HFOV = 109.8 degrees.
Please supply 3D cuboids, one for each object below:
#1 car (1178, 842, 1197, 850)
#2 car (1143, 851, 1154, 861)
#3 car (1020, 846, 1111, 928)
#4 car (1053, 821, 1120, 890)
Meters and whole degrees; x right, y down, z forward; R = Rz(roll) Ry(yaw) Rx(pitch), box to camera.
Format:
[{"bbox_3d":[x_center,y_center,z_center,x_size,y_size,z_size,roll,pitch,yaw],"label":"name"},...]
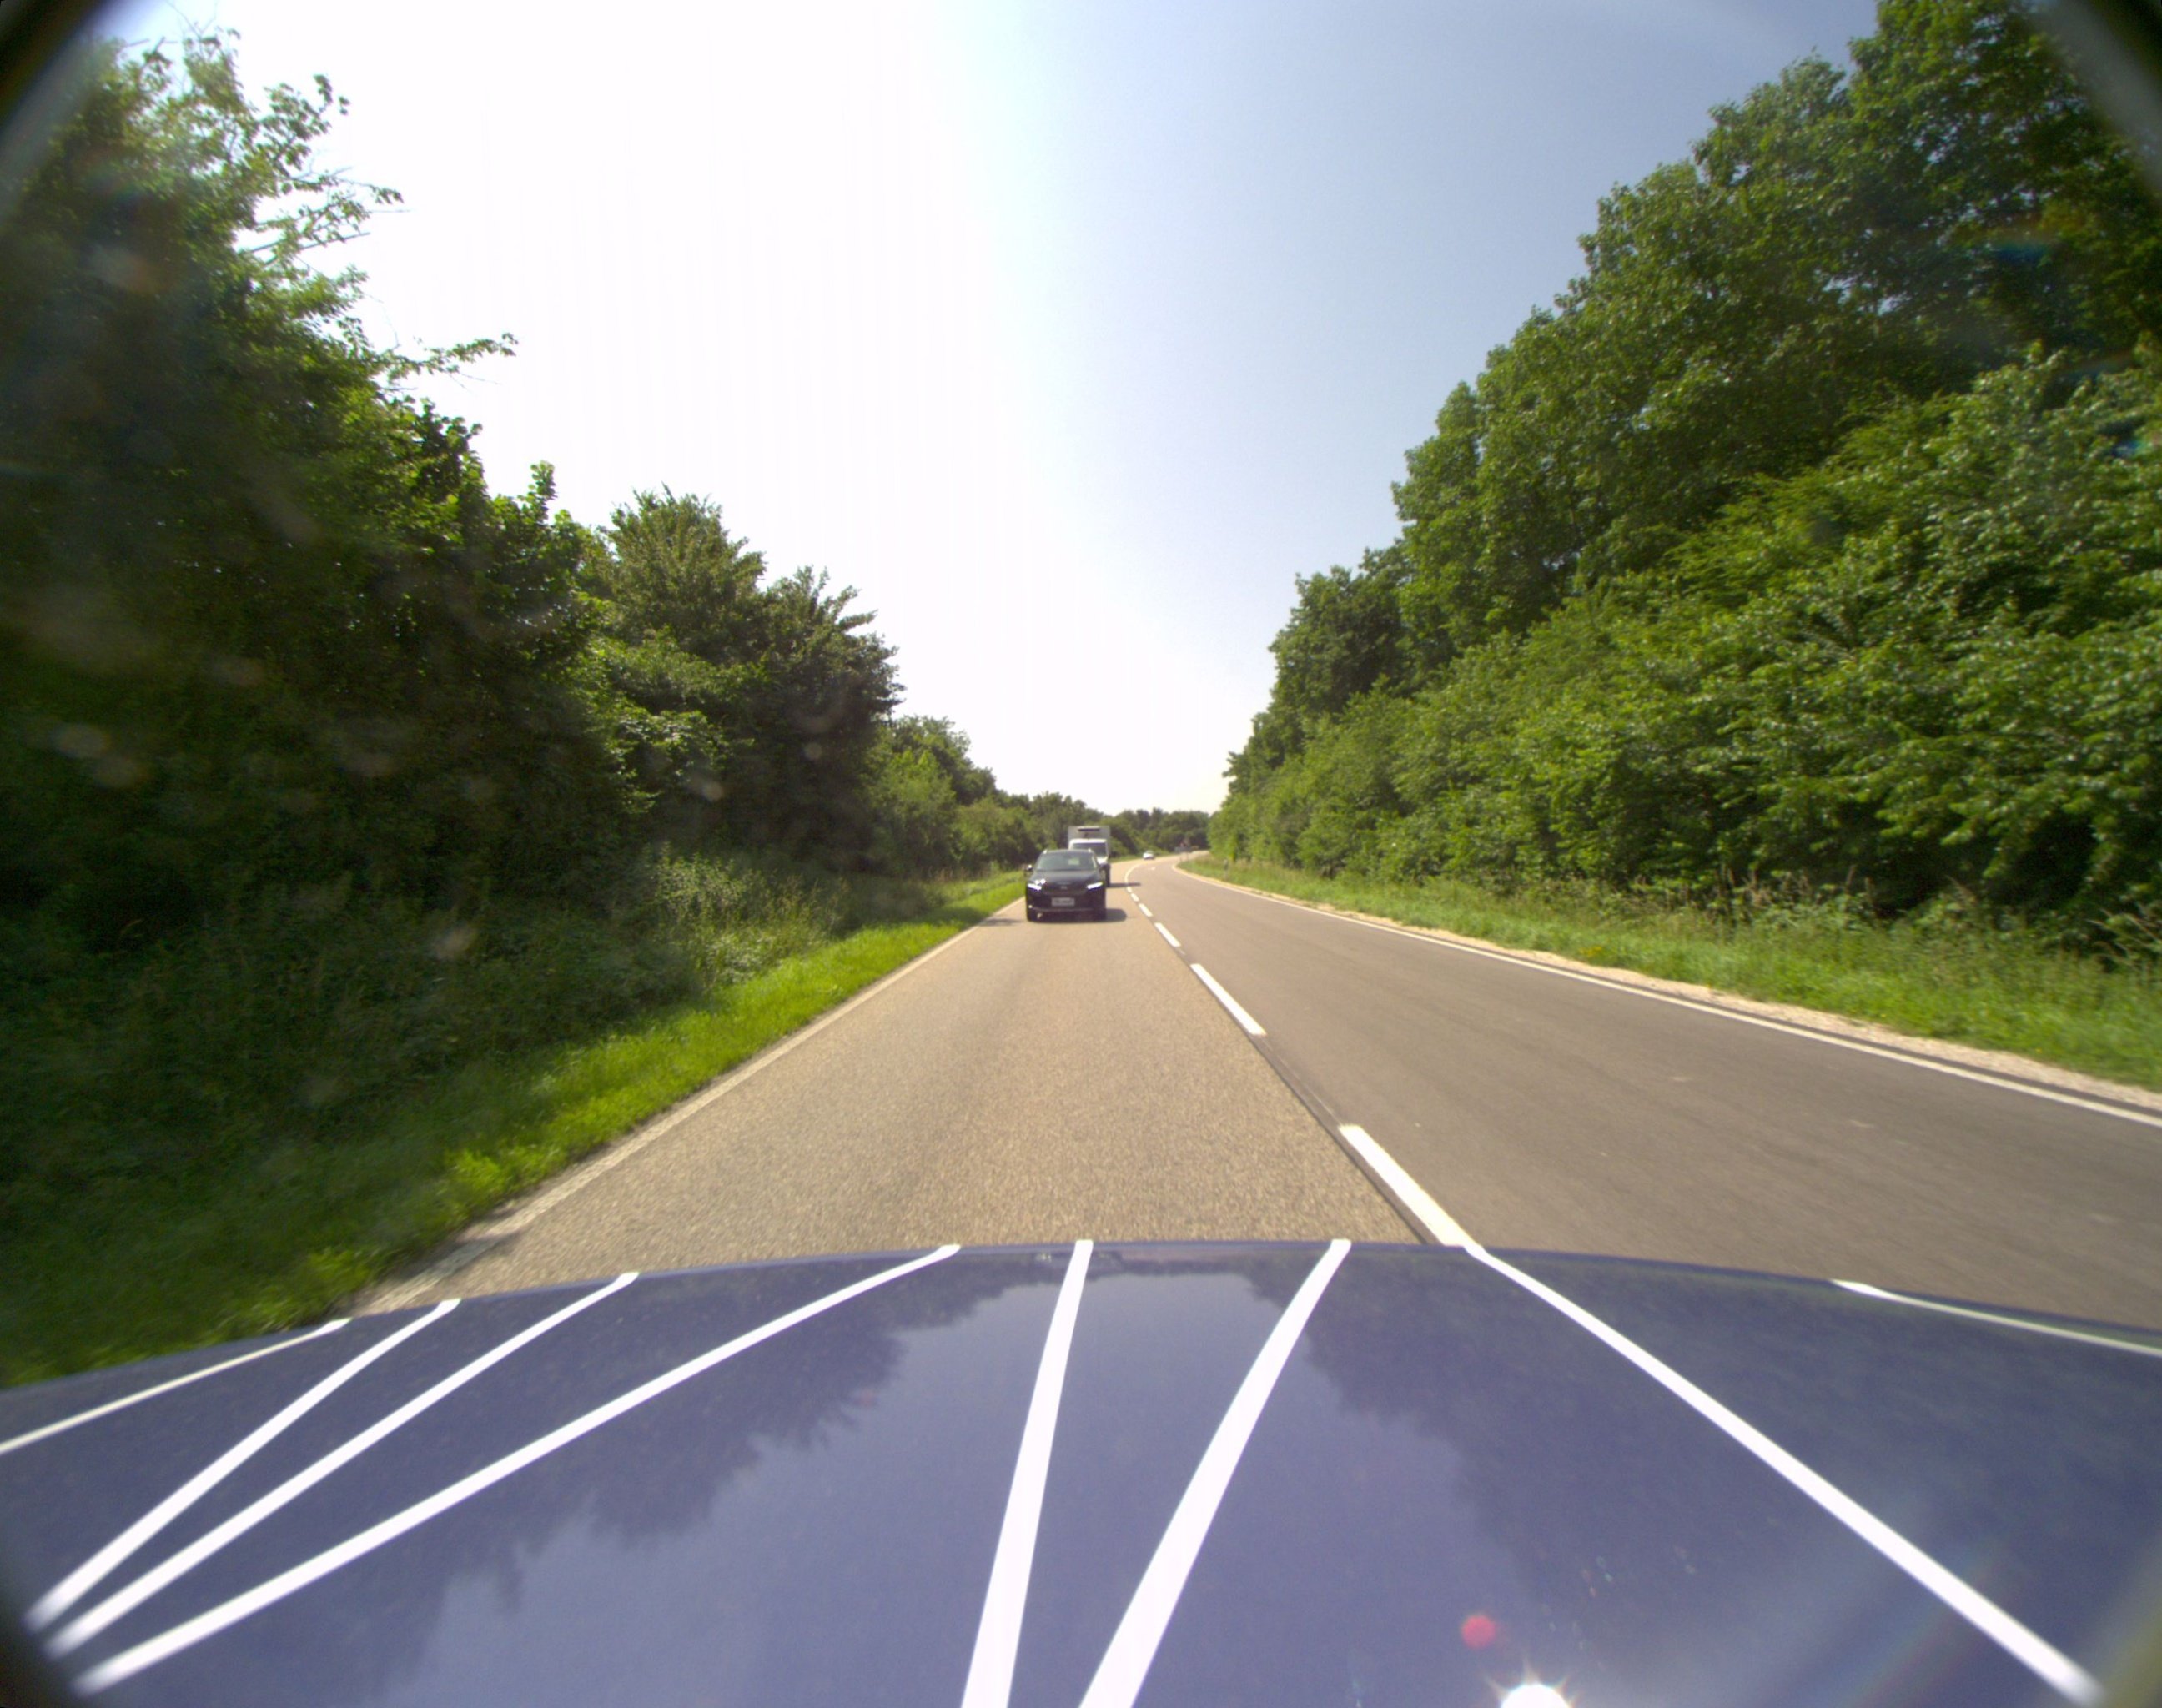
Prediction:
[{"bbox_3d":[31.565,-2.310,224.831,5.226,1.896,2.013,-3,2,1],"label":"car"},{"bbox_3d":[12.599,0.424,142.441,1.808,1.797,4.002,-2,1,8],"label":"car"},{"bbox_3d":[-0.312,0.707,19.660,1.924,1.711,5.478,-3,1,1],"label":"car"},{"bbox_3d":[0.421,-0.020,38.057,2.591,3.047,6.882,-2,2,6],"label":"car"}]
